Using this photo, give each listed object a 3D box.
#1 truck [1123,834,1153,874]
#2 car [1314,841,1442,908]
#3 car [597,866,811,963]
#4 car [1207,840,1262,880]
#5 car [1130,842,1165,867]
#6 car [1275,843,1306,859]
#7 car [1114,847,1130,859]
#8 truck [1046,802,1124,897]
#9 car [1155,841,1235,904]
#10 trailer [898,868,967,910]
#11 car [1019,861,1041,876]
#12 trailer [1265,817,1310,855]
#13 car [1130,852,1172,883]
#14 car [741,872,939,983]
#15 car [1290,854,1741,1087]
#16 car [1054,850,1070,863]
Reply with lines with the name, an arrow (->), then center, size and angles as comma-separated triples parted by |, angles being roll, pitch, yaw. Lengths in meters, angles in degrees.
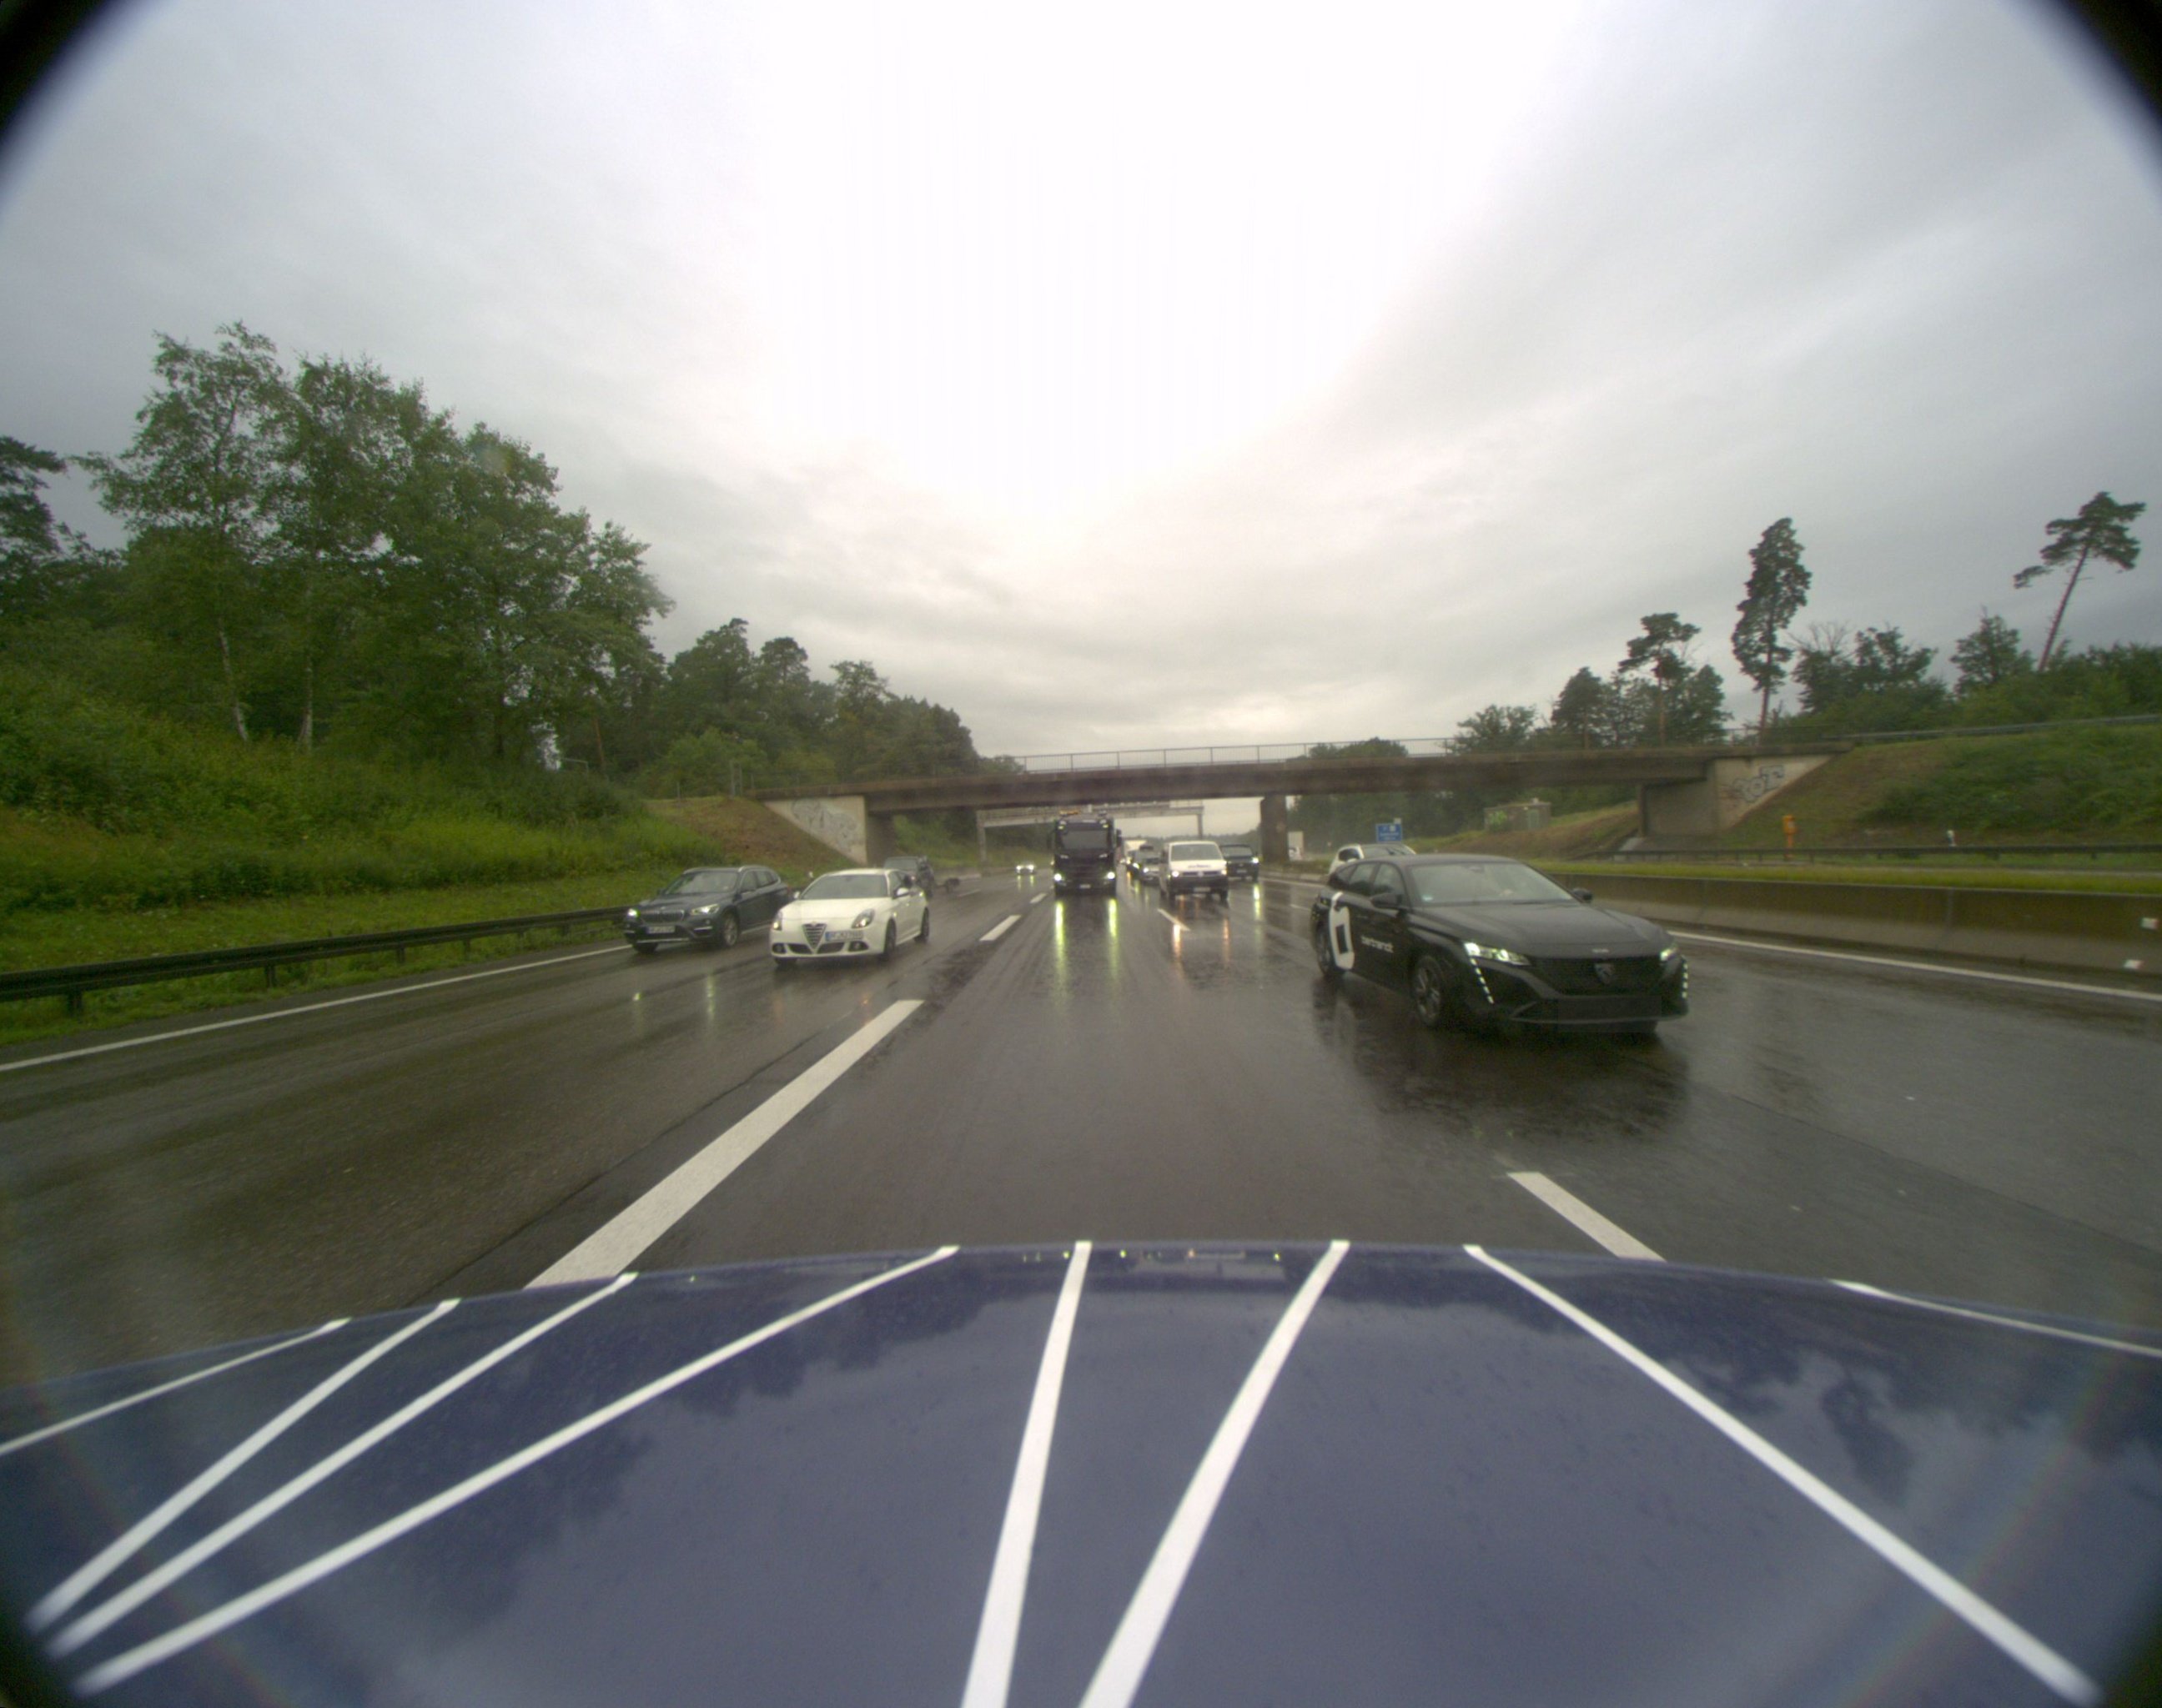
truck -> 5.813, -0.014, 78.959 | 2.521, 3.941, 6.994 | -2, 0, 1
car -> 8.064, 0.501, 21.117 | 1.850, 1.582, 4.466 | -2, 0, 1
car -> -7.623, 1.124, 16.047 | 1.995, 1.574, 4.767 | -2, 0, 1
car -> 8.238, 0.282, 41.216 | 1.996, 1.933, 5.242 | -2, 1, 1
car -> 4.486, 0.052, 51.767 | 1.995, 1.551, 4.767 | -2, 0, 1
car -> 21.705, -0.330, 78.850 | 1.934, 1.582, 4.466 | -3, 0, 1
car -> 5.510, -0.107, 102.012 | 1.995, 1.551, 4.767 | -2, 0, 1
truck -> 0.296, -0.256, 34.689 | 2.879, 3.528, 10.910 | -2, 1, 1
car -> 3.711, 0.553, 25.566 | 1.995, 1.869, 4.767 | -2, 0, 1
trailer -> -7.203, 1.660, 37.420 | 2.249, 1.704, 5.082 | -2, 0, 1
car -> -5.158, 1.460, 76.829 | 1.795, 1.399, 4.228 | -2, 0, 1
trailer -> 28.181, -2.391, 104.482 | 3.213, 4.785, 13.348 | -2, 0, 4
car -> 3.661, 0.672, 40.298 | 1.850, 1.496, 4.466 | -2, 1, 1
car -> -3.904, 1.115, 13.218 | 1.894, 1.417, 4.483 | -2, 0, 1
car -> 3.567, 0.795, 7.392 | 1.850, 1.496, 4.466 | -2, 0, 1
car -> -2.783, 0.366, 113.378 | 1.995, 1.910, 4.767 | -2, 0, 1
